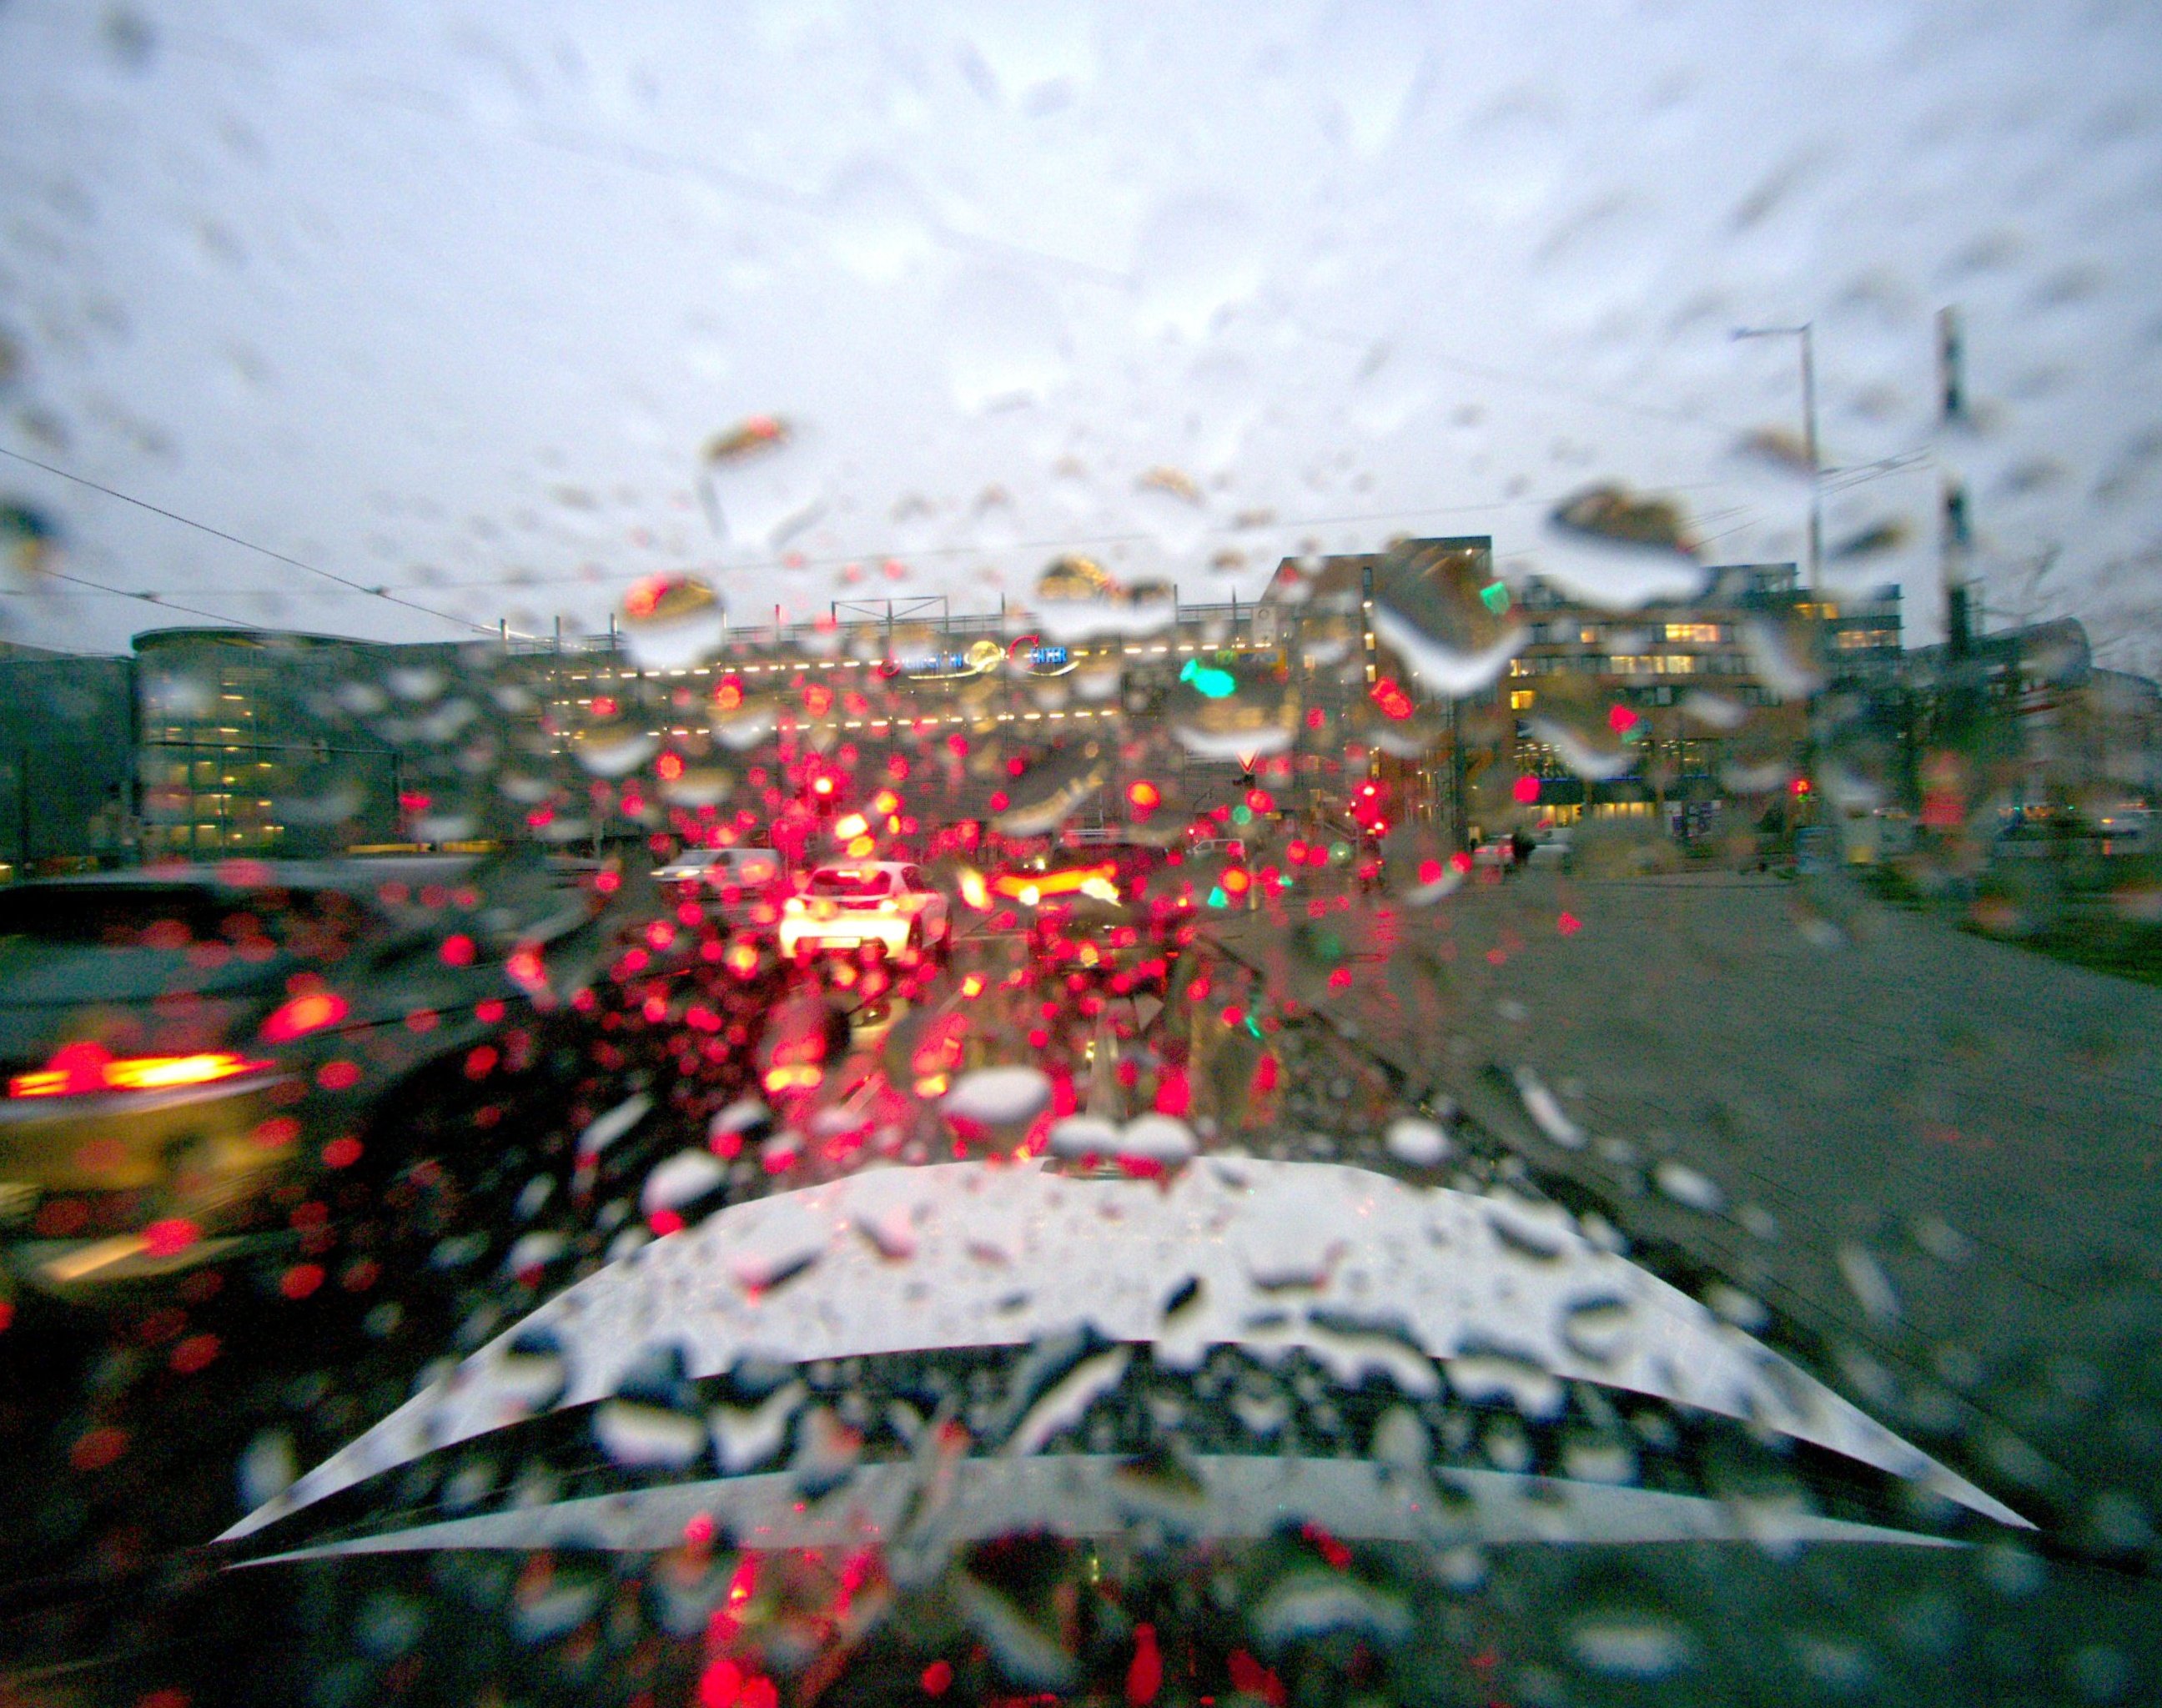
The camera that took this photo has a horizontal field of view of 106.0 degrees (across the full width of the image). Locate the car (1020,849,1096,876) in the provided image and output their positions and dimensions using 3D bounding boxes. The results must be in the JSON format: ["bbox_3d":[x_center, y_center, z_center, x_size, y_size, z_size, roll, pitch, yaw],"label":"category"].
[{"bbox_3d":[-1.372,0.509,49.859,4.364,1.486,1.844,-2,0,-40],"label":"car"}]

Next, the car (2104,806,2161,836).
[{"bbox_3d":[58.706,-1.852,44.793,3.678,1.496,1.636,-3,0,-14],"label":"car"}]

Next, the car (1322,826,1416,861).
[{"bbox_3d":[19.134,-0.702,54.309,5.614,2.059,1.956,-2,0,5],"label":"car"}]

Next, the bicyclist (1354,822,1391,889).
[{"bbox_3d":[8.418,0.041,23.584,0.786,1.890,0.992,-2,0,10],"label":"bicyclist"}]

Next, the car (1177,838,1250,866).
[{"bbox_3d":[9.160,-0.136,56.521,4.635,1.677,1.781,-2,0,-9],"label":"car"}]

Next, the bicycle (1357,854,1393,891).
[{"bbox_3d":[8.514,0.519,23.636,0.651,0.973,1.872,-2,0,10],"label":"bicycle"}]

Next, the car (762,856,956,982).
[{"bbox_3d":[-2.991,0.798,11.859,1.753,1.463,3.916,-2,0,-1],"label":"car"}]

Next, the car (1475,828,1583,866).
[{"bbox_3d":[18.294,-0.277,33.323,3.725,1.361,1.637,-2,0,-14],"label":"car"}]

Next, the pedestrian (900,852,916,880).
[{"bbox_3d":[-15.236,1.069,71.645,1.105,2.439,0.967,-1,-1,4],"label":"pedestrian"}]

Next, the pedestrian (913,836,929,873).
[{"bbox_3d":[-12.922,0.056,65.819,0.958,2.925,1.115,-1,-1,4],"label":"pedestrian"}]

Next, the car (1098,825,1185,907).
[{"bbox_3d":[1.668,0.251,20.835,1.833,1.806,4.497,-2,0,8],"label":"car"}]

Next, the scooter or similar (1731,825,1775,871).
[{"bbox_3d":[18.036,-0.163,21.867,1.311,1.206,0.331,-2,0,-24],"label":"scooter or similar"}]

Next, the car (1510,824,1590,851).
[{"bbox_3d":[33.504,-1.160,58.273,4.575,1.719,1.931,-2,0,3],"label":"car"}]

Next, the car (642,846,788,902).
[{"bbox_3d":[-13.617,0.696,30.693,1.882,1.871,4.990,-2,0,23],"label":"car"}]

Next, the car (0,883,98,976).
[{"bbox_3d":[-17.546,1.219,11.558,1.634,1.386,4.478,-2,0,2],"label":"car"}]

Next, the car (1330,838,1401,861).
[{"bbox_3d":[20.138,-0.339,57.698,4.404,1.444,1.626,-2,0,-7],"label":"car"}]

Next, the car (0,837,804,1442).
[{"bbox_3d":[-3.150,0.772,4.322,1.815,1.570,4.361,-2,0,0],"label":"car"}]

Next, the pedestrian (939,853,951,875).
[{"bbox_3d":[-11.287,0.864,67.510,0.785,1.787,0.733,-2,0,-1],"label":"pedestrian"}]

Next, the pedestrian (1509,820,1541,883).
[{"bbox_3d":[13.544,-0.076,24.852,0.766,1.877,0.639,-2,0,27],"label":"pedestrian"}]

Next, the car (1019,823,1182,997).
[{"bbox_3d":[0.345,0.567,10.382,1.666,1.779,4.005,0,0,4],"label":"car"}]
